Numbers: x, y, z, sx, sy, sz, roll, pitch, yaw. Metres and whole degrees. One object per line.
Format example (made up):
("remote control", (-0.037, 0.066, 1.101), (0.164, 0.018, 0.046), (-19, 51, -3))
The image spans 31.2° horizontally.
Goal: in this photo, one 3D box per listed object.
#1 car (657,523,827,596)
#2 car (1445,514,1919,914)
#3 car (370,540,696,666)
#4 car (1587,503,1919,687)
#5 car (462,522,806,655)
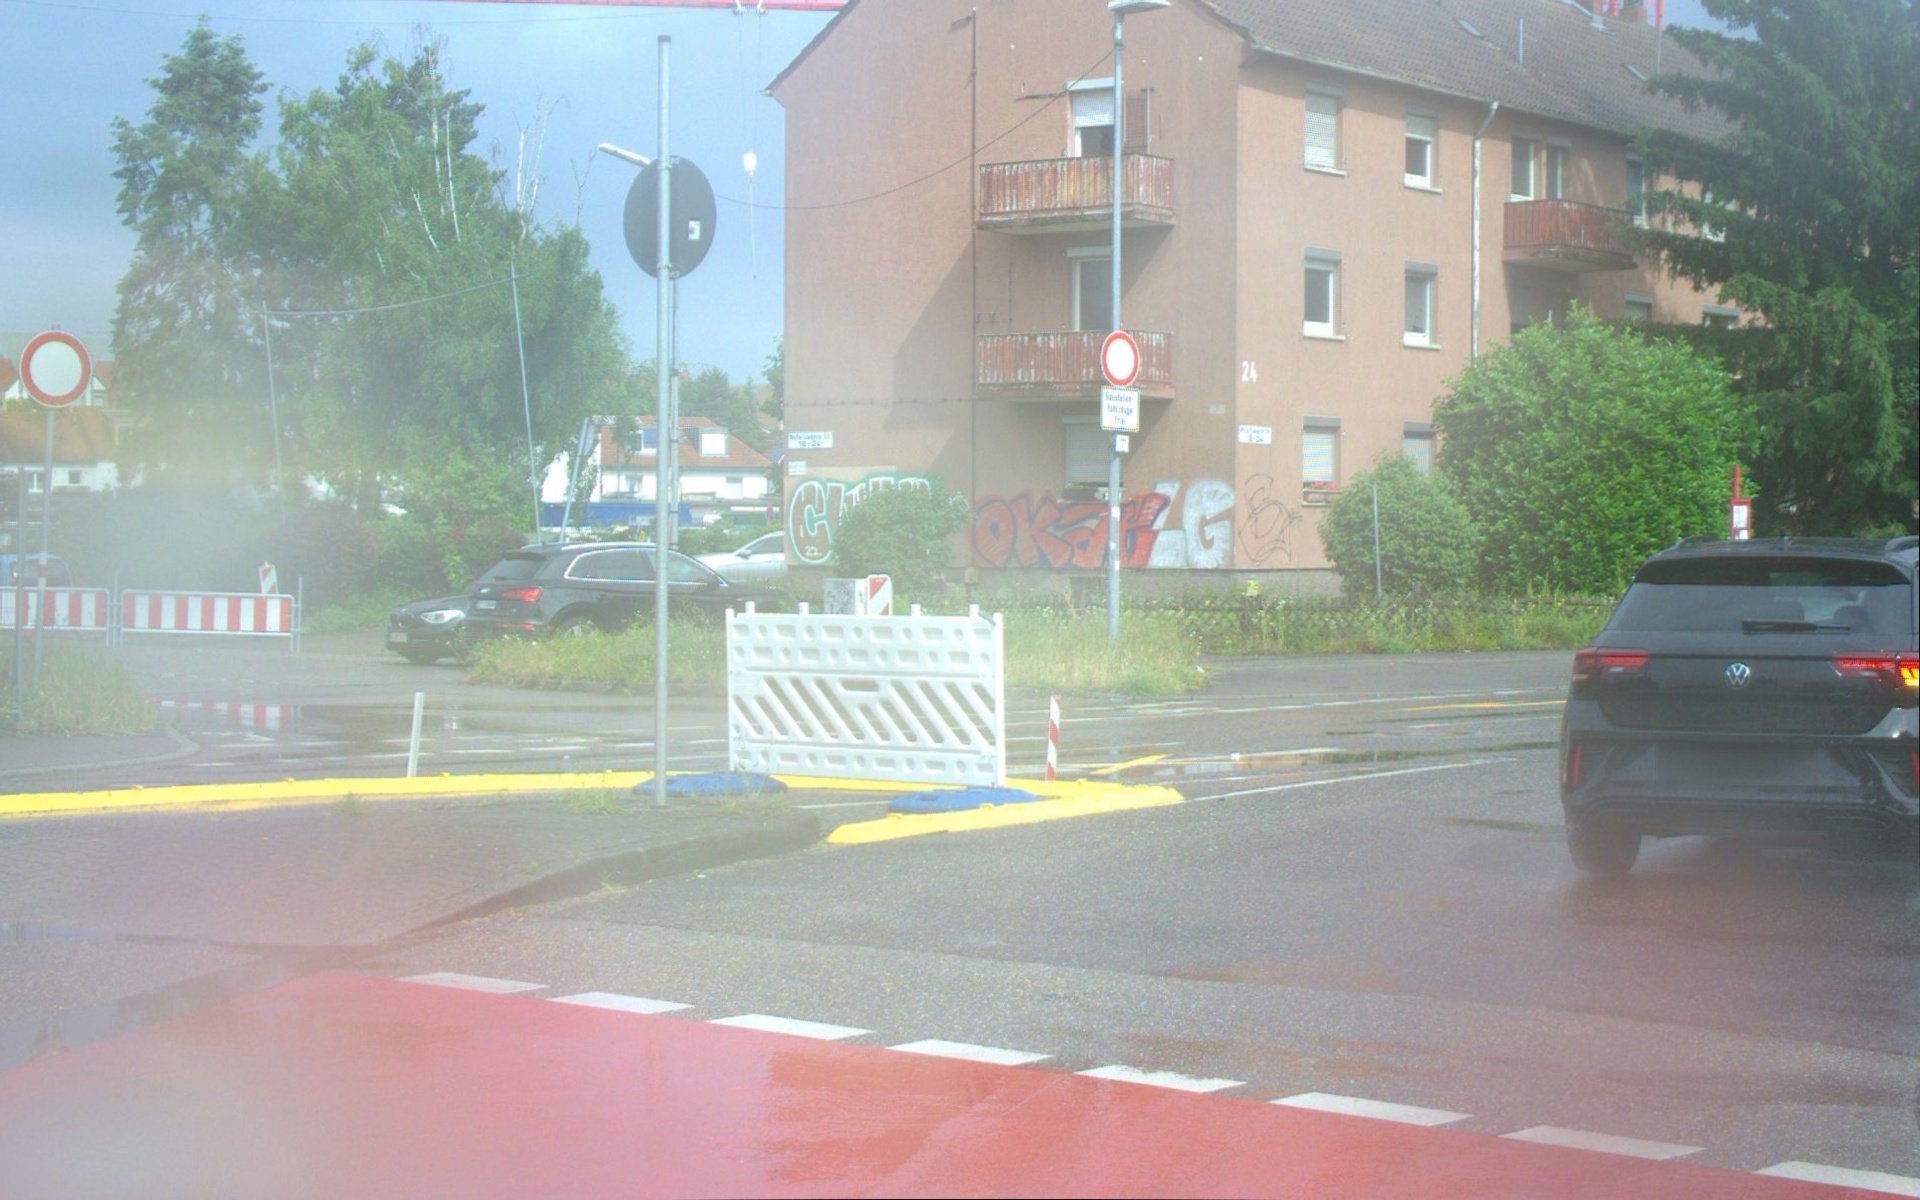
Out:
("car", (-4.658, -0.875, 73.841), (3.510, 1.514, 1.617), (0, 1, 1))
("car", (3.723, 0.432, 16.376), (1.899, 1.612, 3.996), (2, 1, 21))
("car", (-5.701, 0.030, 45.909), (4.044, 1.627, 1.617), (0, 1, -21))
("car", (8.784, -0.098, 36.019), (2.080, 1.726, 4.686), (4, 4, 43))
("car", (-4.130, -0.156, 43.520), (4.044, 1.627, 1.617), (0, 1, -21))
